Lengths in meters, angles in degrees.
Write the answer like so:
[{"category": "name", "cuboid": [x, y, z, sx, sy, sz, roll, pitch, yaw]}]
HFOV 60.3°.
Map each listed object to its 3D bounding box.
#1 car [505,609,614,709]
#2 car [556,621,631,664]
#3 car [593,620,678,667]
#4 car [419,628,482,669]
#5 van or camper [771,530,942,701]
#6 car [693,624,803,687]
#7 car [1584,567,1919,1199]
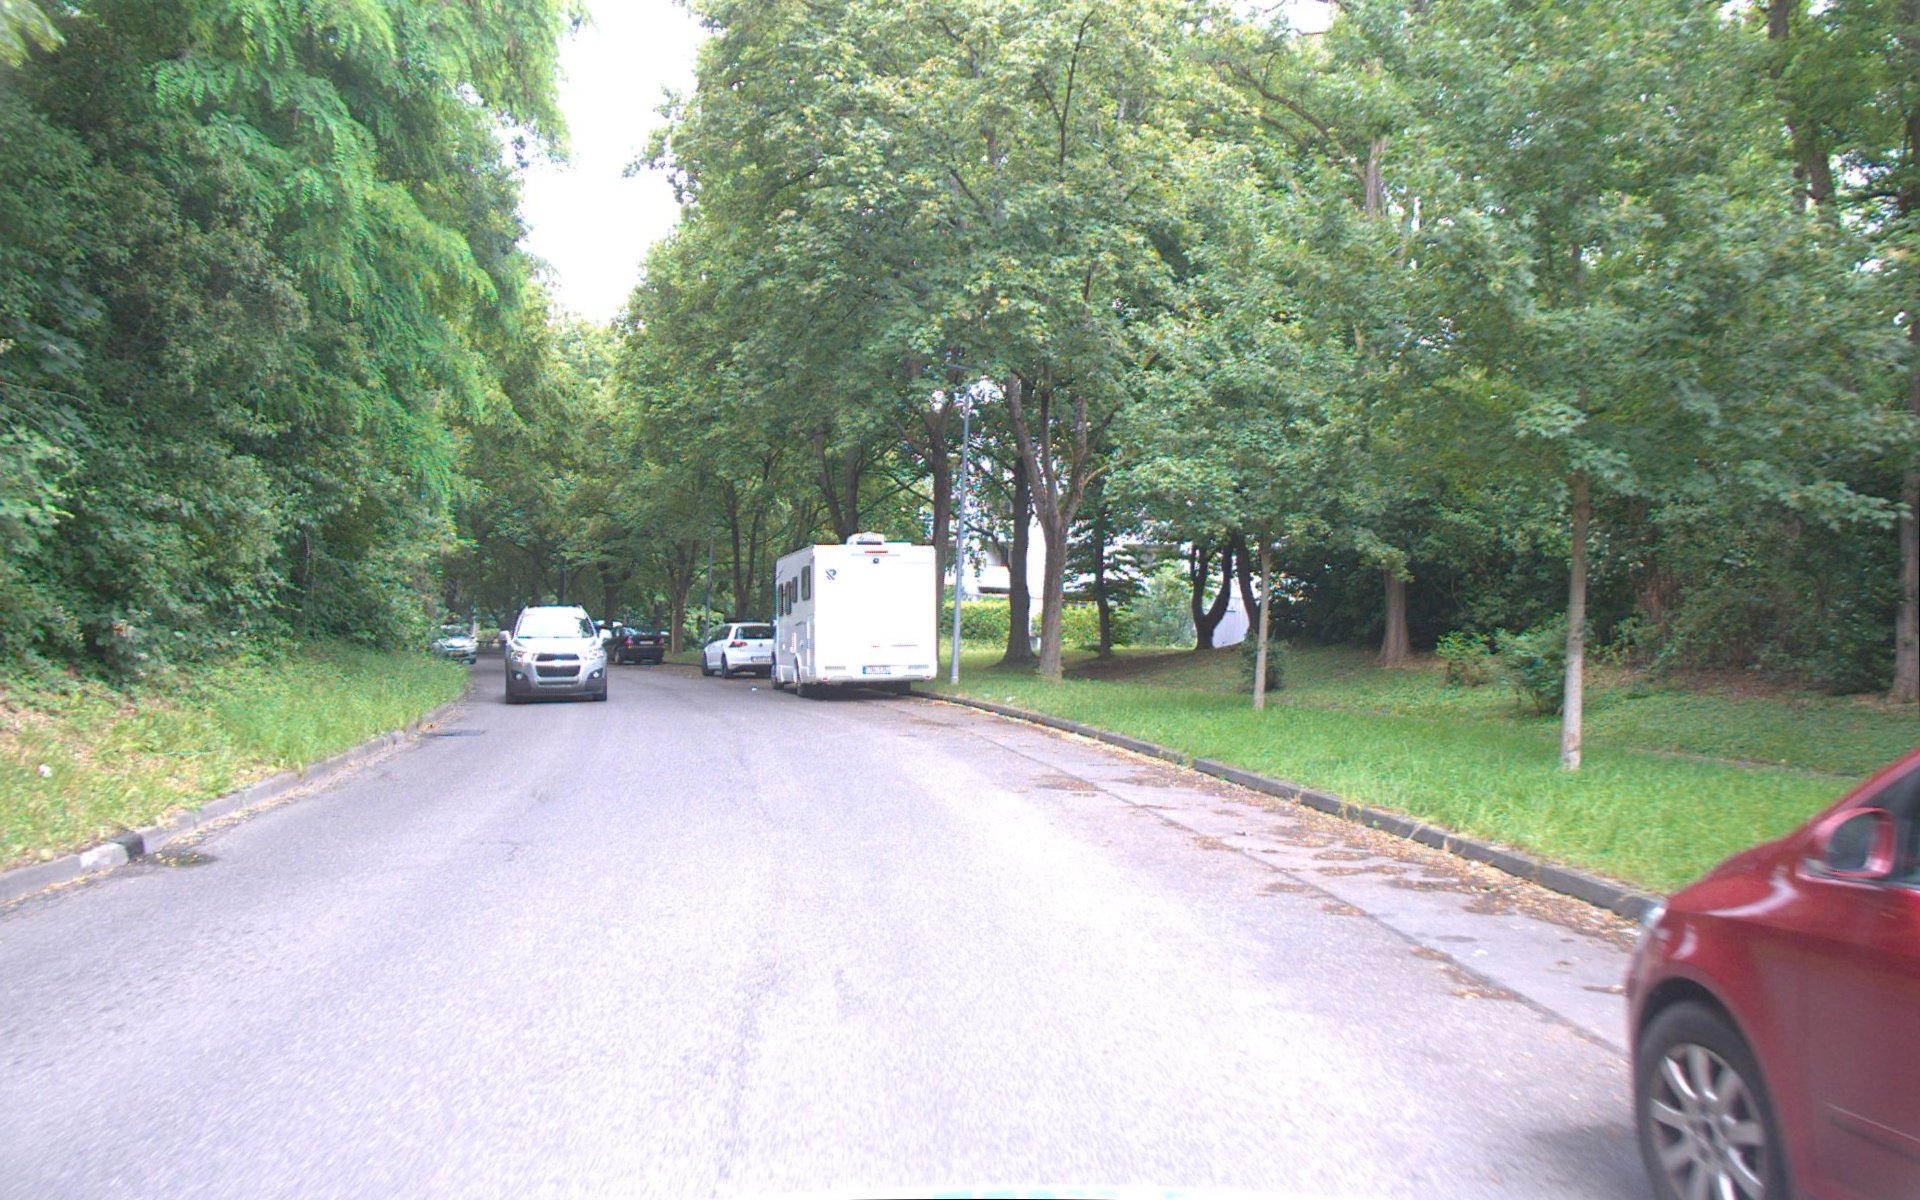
[{"category": "car", "cuboid": [-7.598, 1.035, 31.289, 1.827, 1.693, 4.553, -1, 0, -14]}, {"category": "car", "cuboid": [-14.626, 1.668, 65.845, 1.970, 1.641, 3.964, 0, -1, -27]}, {"category": "car", "cuboid": [-11.892, 1.570, 60.426, 1.970, 1.527, 3.964, 3, -1, -28]}, {"category": "car", "cuboid": [-19.592, 1.822, 63.464, 1.789, 1.492, 3.968, -1, -1, -25]}, {"category": "van or camper", "cuboid": [-2.142, 0.265, 32.361, 2.389, 3.060, 5.188, 0, 0, -15]}, {"category": "car", "cuboid": [-5.819, 1.484, 45.030, 1.966, 1.498, 3.973, 3, -1, -22]}, {"category": "car", "cuboid": [2.790, 0.715, 2.753, 1.704, 1.590, 3.996, -1, 0, -5]}]
